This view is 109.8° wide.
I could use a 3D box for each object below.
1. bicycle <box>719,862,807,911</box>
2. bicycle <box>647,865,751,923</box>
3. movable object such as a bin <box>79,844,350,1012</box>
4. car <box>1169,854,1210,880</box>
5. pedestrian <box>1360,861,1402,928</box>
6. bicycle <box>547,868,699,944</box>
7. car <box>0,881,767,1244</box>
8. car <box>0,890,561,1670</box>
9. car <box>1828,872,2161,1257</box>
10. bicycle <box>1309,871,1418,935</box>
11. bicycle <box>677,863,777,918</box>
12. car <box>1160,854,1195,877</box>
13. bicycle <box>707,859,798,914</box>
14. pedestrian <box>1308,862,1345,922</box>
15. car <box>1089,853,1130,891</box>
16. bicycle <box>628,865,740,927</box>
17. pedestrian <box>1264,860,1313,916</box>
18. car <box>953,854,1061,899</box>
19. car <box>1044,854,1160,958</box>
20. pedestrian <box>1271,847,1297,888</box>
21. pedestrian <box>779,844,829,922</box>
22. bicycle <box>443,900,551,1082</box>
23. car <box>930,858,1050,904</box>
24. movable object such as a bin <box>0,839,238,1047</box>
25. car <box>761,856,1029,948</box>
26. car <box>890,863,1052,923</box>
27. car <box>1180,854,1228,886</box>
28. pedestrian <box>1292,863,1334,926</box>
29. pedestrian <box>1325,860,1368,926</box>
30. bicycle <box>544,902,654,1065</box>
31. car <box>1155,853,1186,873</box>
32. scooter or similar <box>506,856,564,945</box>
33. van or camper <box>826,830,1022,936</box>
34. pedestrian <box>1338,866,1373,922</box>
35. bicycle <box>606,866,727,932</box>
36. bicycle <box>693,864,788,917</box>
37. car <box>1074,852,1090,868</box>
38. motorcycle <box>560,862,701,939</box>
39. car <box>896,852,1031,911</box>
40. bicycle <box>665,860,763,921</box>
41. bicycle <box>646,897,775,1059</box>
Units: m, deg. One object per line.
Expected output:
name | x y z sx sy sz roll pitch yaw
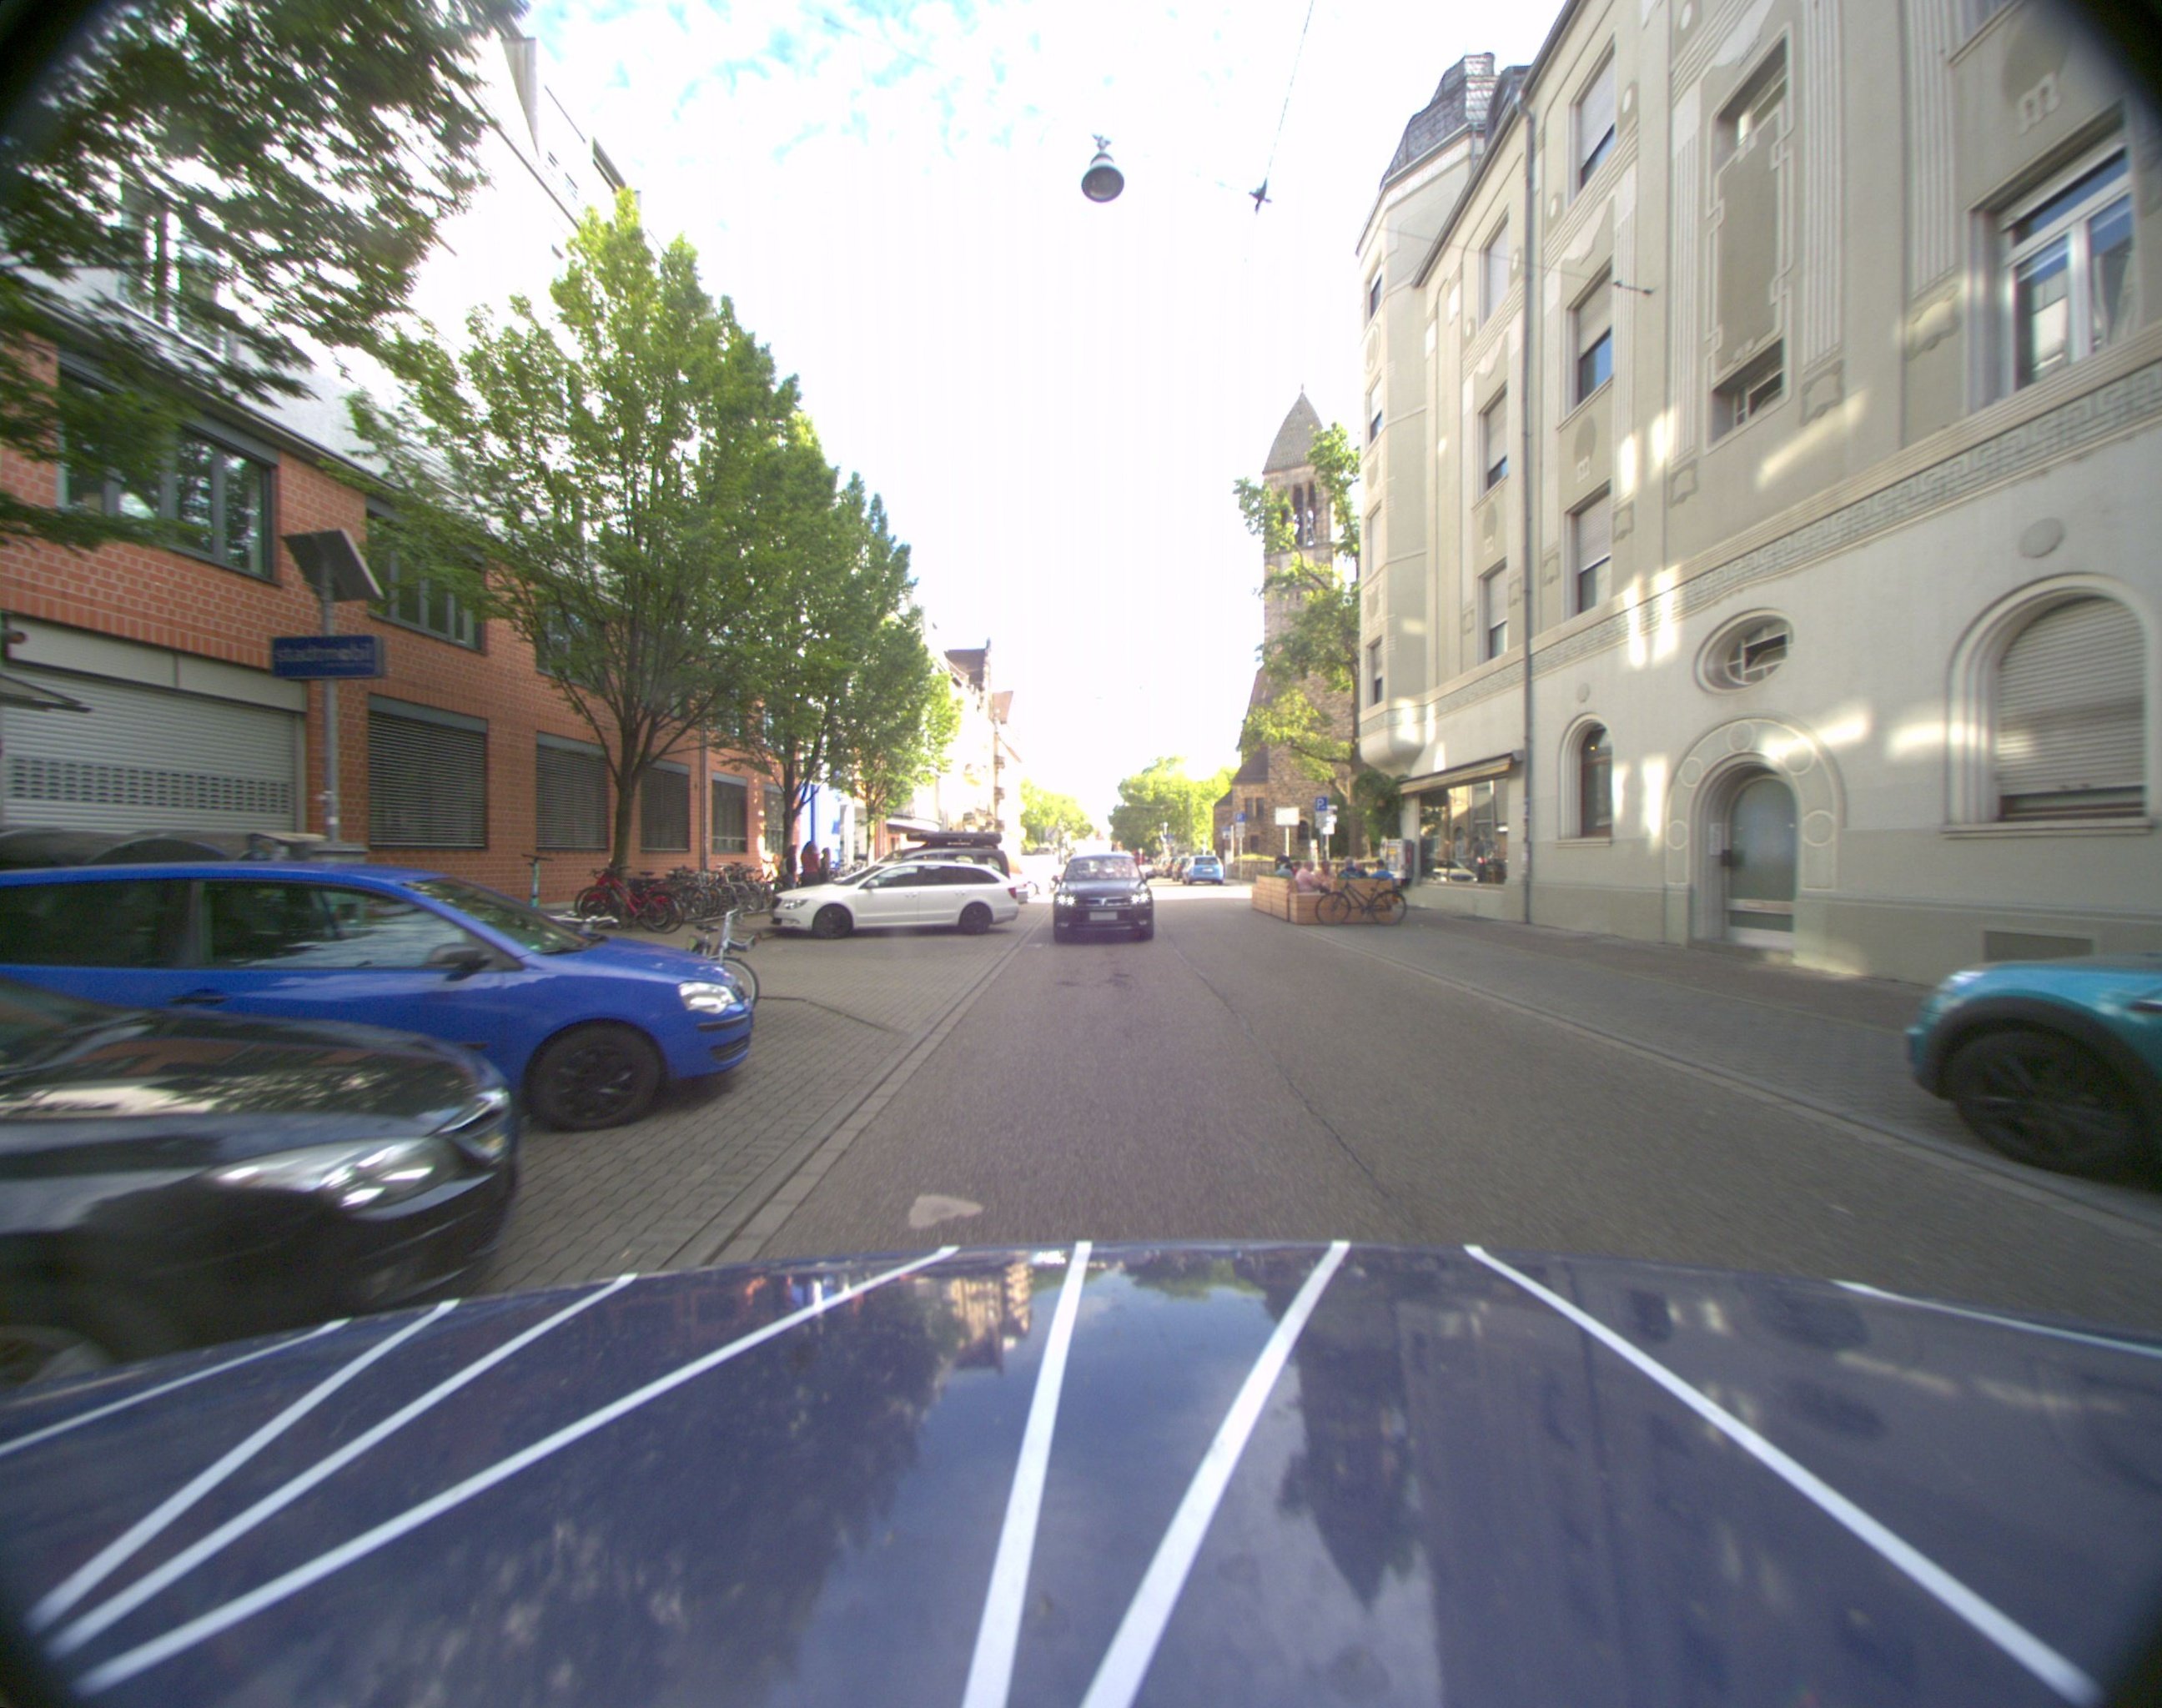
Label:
bicycle | -7.976 0.814 19.103 1.896 1.106 0.618 3 0 -1
bicycle | -8.003 0.823 15.962 1.887 1.112 0.537 2 1 -1
movable object such as a bin | -8.439 0.678 7.483 1.375 1.438 1.037 5 0 -1
car | 6.349 0.709 44.782 1.911 1.412 4.000 -2 0 1
pedestrian | 6.302 0.838 15.993 0.637 1.364 0.684 -1 1 5
bicycle | -7.685 0.853 12.809 2.025 1.089 0.820 4 1 1
car | -4.000 0.913 4.292 4.006 1.430 1.721 2 0 -26
car | -3.702 0.977 1.700 4.133 1.512 1.840 -2 1 -35
car | 5.005 0.828 2.192 1.674 1.407 4.011 -2 0 -2
bicycle | 5.556 0.953 15.014 1.872 1.168 0.688 -2 1 3
bicycle | -7.975 0.822 17.154 1.896 1.113 0.618 3 1 -1
car | 6.434 0.771 51.005 1.911 1.412 4.000 -2 0 1
bicycle | -7.967 0.774 18.470 1.896 1.198 0.618 3 1 -1
pedestrian | 5.649 0.862 17.491 0.668 1.328 0.740 -1 1 8
car | 1.382 0.827 36.426 1.810 1.622 4.001 -2 0 3
bicycle | -8.003 0.840 15.361 1.896 1.125 0.618 3 1 -1
pedestrian | 5.259 0.855 19.307 1.088 1.365 0.895 -1 1 10
car | -3.048 0.888 31.475 4.006 1.663 1.923 -2 0 -30
car | 0.547 0.865 14.688 1.874 1.644 4.388 -1 0 5
pedestrian | 8.678 0.563 32.491 0.845 1.699 0.879 -1 1 2
pedestrian | -6.335 0.649 17.444 0.754 1.728 0.952 3 0 -3
bicycle | -4.865 1.042 6.293 0.470 1.205 1.712 -2 2 -45
car | -3.423 0.979 28.757 4.006 1.499 1.995 -2 0 -30
movable object such as a bin | -8.463 0.673 6.359 1.375 1.451 1.164 7 0 -1
car | -3.629 0.885 15.112 4.816 1.535 1.866 2 0 -31
car | -2.979 1.009 20.775 4.006 1.391 1.657 -2 0 -30
car | 6.189 0.761 38.689 1.828 1.477 4.170 -2 0 1
pedestrian | 5.086 0.880 16.709 0.738 1.341 0.644 -1 1 4
pedestrian | 5.619 0.812 16.115 0.689 1.365 0.739 -1 1 5
bicycle | -4.378 1.084 6.848 0.450 1.146 1.781 -2 3 -45
car | 6.808 0.686 58.087 1.911 1.412 4.000 -2 0 1
scooter or similar | -8.825 0.723 12.267 0.526 1.306 1.317 3 1 -43
van or camper | -3.638 0.585 17.653 4.006 2.166 1.995 -2 0 -29
pedestrian | 6.268 0.899 17.367 0.597 1.236 0.694 -1 1 8
bicycle | -7.948 0.849 14.619 1.921 1.134 0.618 3 1 -1
bicycle | -7.970 0.846 17.828 1.896 1.096 0.618 3 0 -1
car | 0.143 0.734 98.713 1.810 1.914 4.001 -2 0 3
motorcycle | -8.039 0.809 13.630 1.984 1.220 0.827 3 0 0
car | -3.928 0.864 25.427 4.006 1.751 1.908 -2 0 -30
bicycle | -7.982 0.785 16.560 1.782 1.198 0.618 3 1 -1
bicycle | -3.496 1.061 7.091 0.703 1.205 1.744 -2 1 -38
